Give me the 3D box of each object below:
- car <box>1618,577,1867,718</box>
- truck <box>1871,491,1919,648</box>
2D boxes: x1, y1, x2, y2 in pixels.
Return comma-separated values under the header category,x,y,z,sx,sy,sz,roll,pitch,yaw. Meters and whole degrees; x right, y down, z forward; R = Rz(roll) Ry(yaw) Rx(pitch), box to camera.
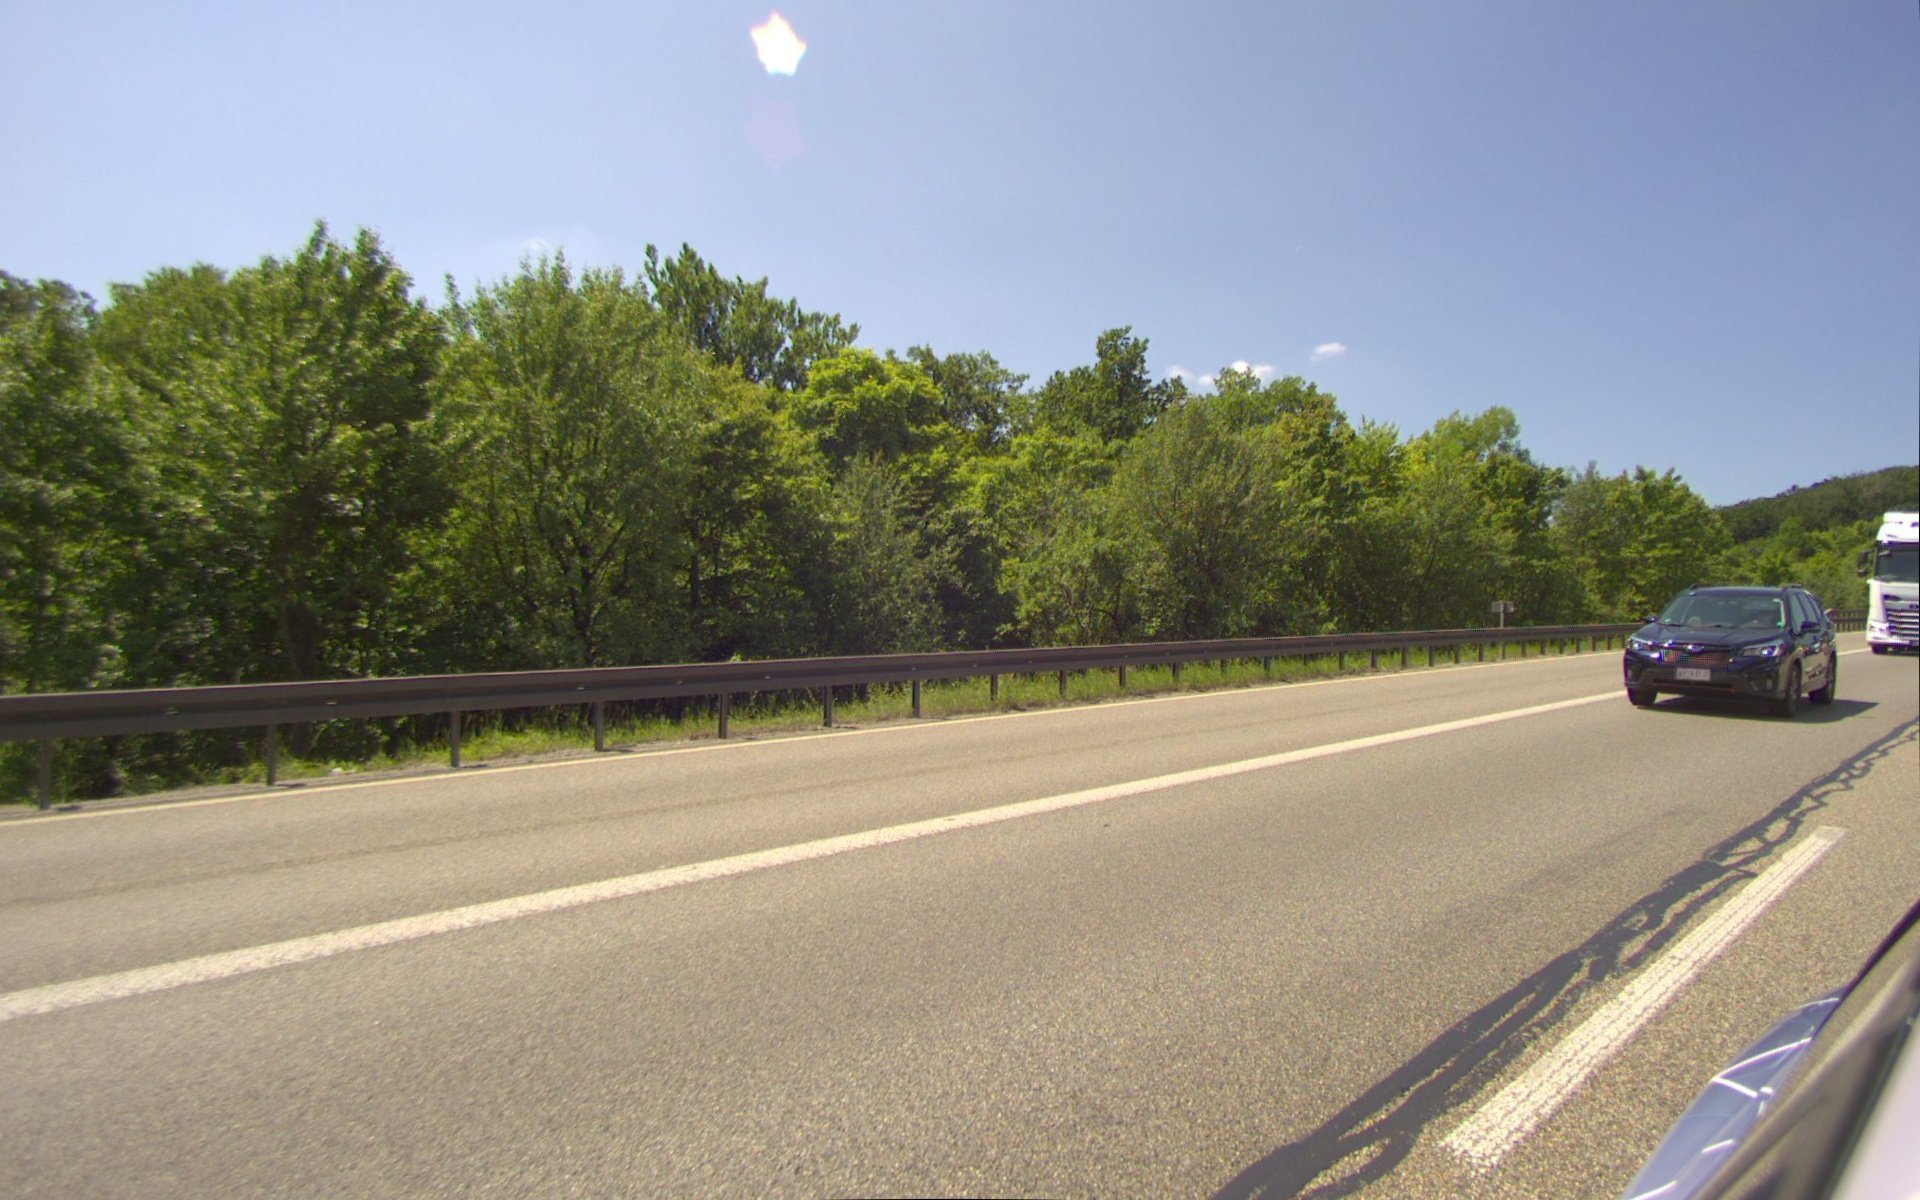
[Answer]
category,x,y,z,sx,sy,sz,roll,pitch,yaw
car,11.041,0.537,14.195,4.127,1.688,1.816,-1,1,-38
truck,32.254,-0.810,32.162,15.979,4.221,2.788,0,0,-40
